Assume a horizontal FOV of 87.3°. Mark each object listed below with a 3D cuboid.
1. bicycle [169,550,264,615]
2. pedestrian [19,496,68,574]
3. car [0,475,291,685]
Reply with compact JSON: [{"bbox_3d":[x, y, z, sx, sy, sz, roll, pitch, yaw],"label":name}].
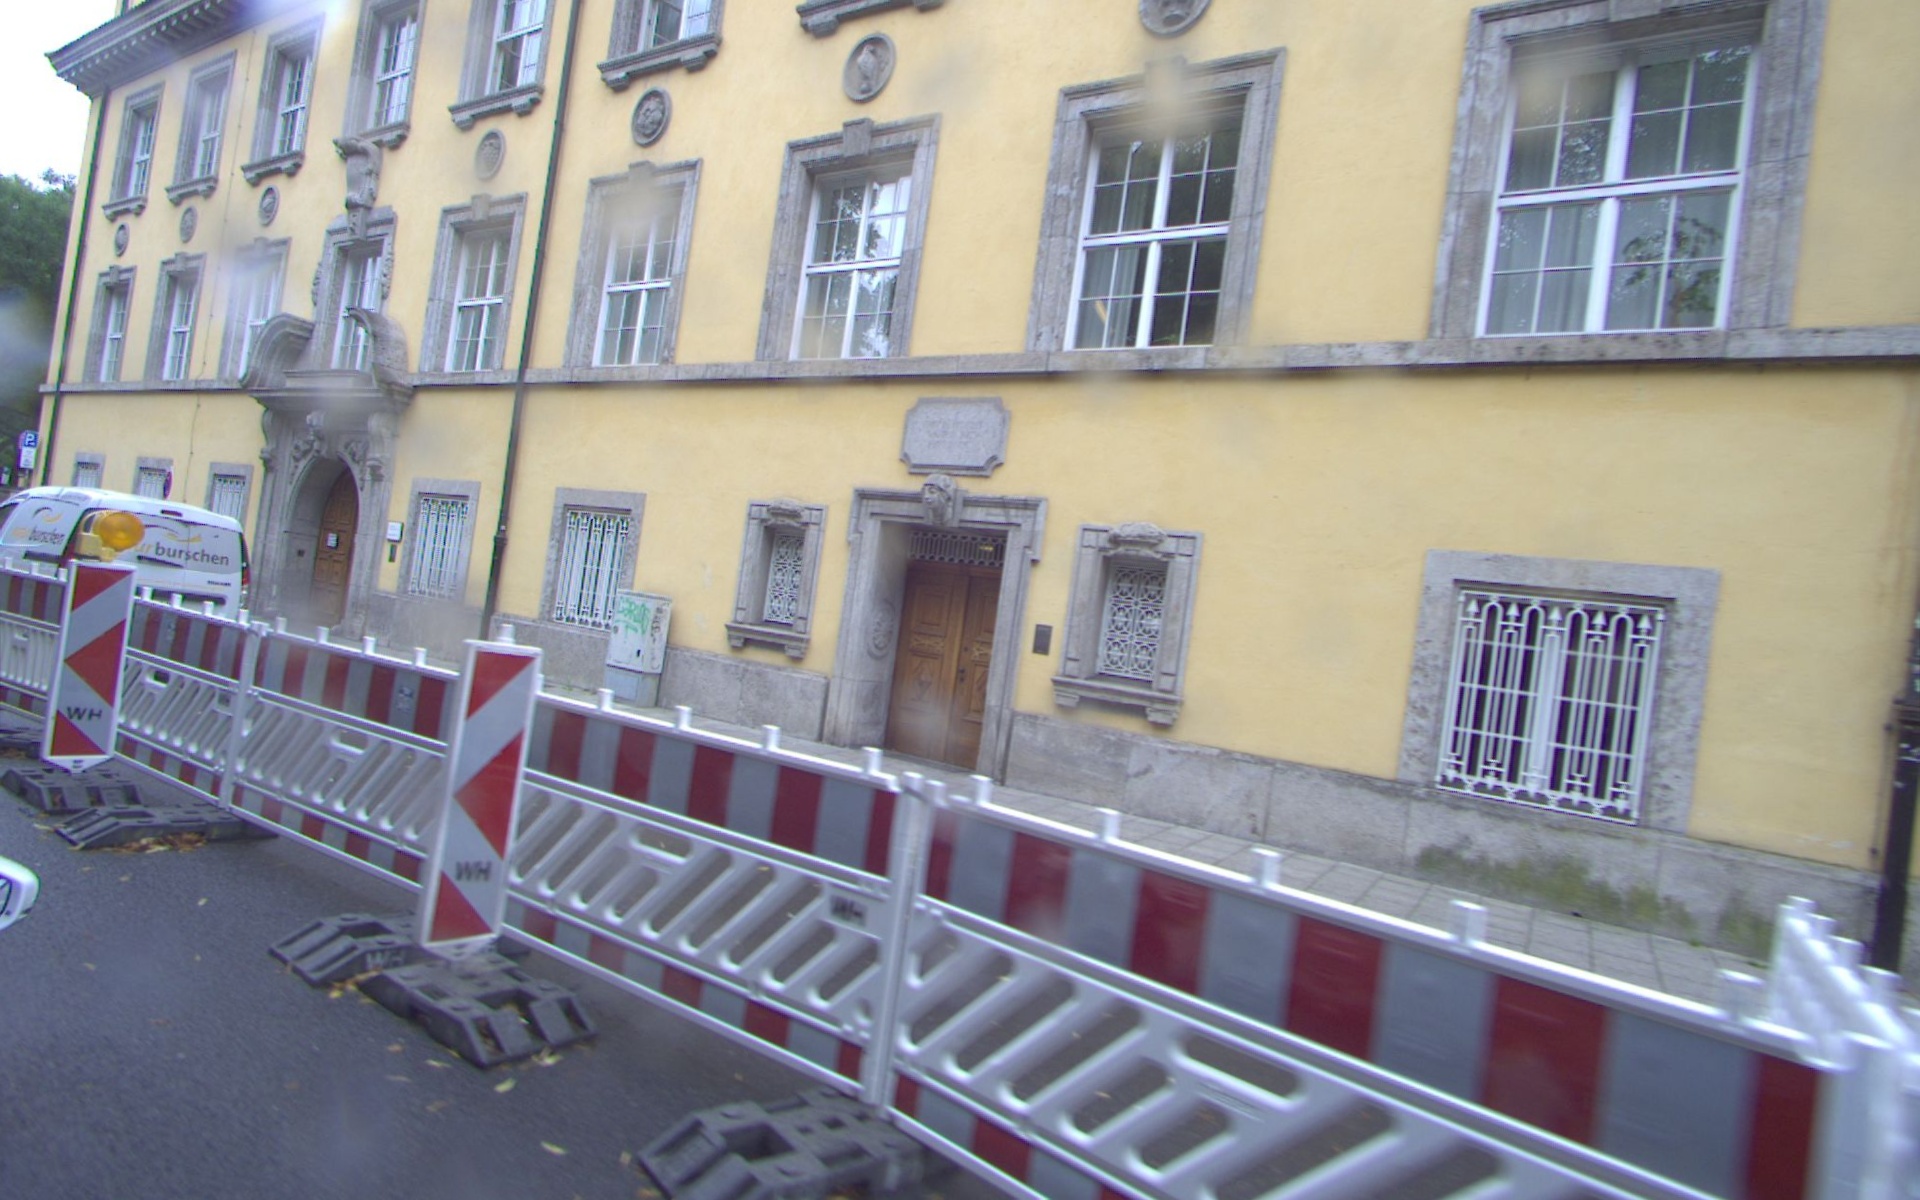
[{"bbox_3d":[-14.263,-0.340,19.285,2.023,1.018,0.681,6,-2,33],"label":"bicycle"},{"bbox_3d":[-20.598,-1.454,22.612,0.562,1.658,0.560,7,1,32],"label":"pedestrian"},{"bbox_3d":[-9.284,-0.273,10.764,4.284,1.770,1.743,6,-2,31],"label":"car"}]
